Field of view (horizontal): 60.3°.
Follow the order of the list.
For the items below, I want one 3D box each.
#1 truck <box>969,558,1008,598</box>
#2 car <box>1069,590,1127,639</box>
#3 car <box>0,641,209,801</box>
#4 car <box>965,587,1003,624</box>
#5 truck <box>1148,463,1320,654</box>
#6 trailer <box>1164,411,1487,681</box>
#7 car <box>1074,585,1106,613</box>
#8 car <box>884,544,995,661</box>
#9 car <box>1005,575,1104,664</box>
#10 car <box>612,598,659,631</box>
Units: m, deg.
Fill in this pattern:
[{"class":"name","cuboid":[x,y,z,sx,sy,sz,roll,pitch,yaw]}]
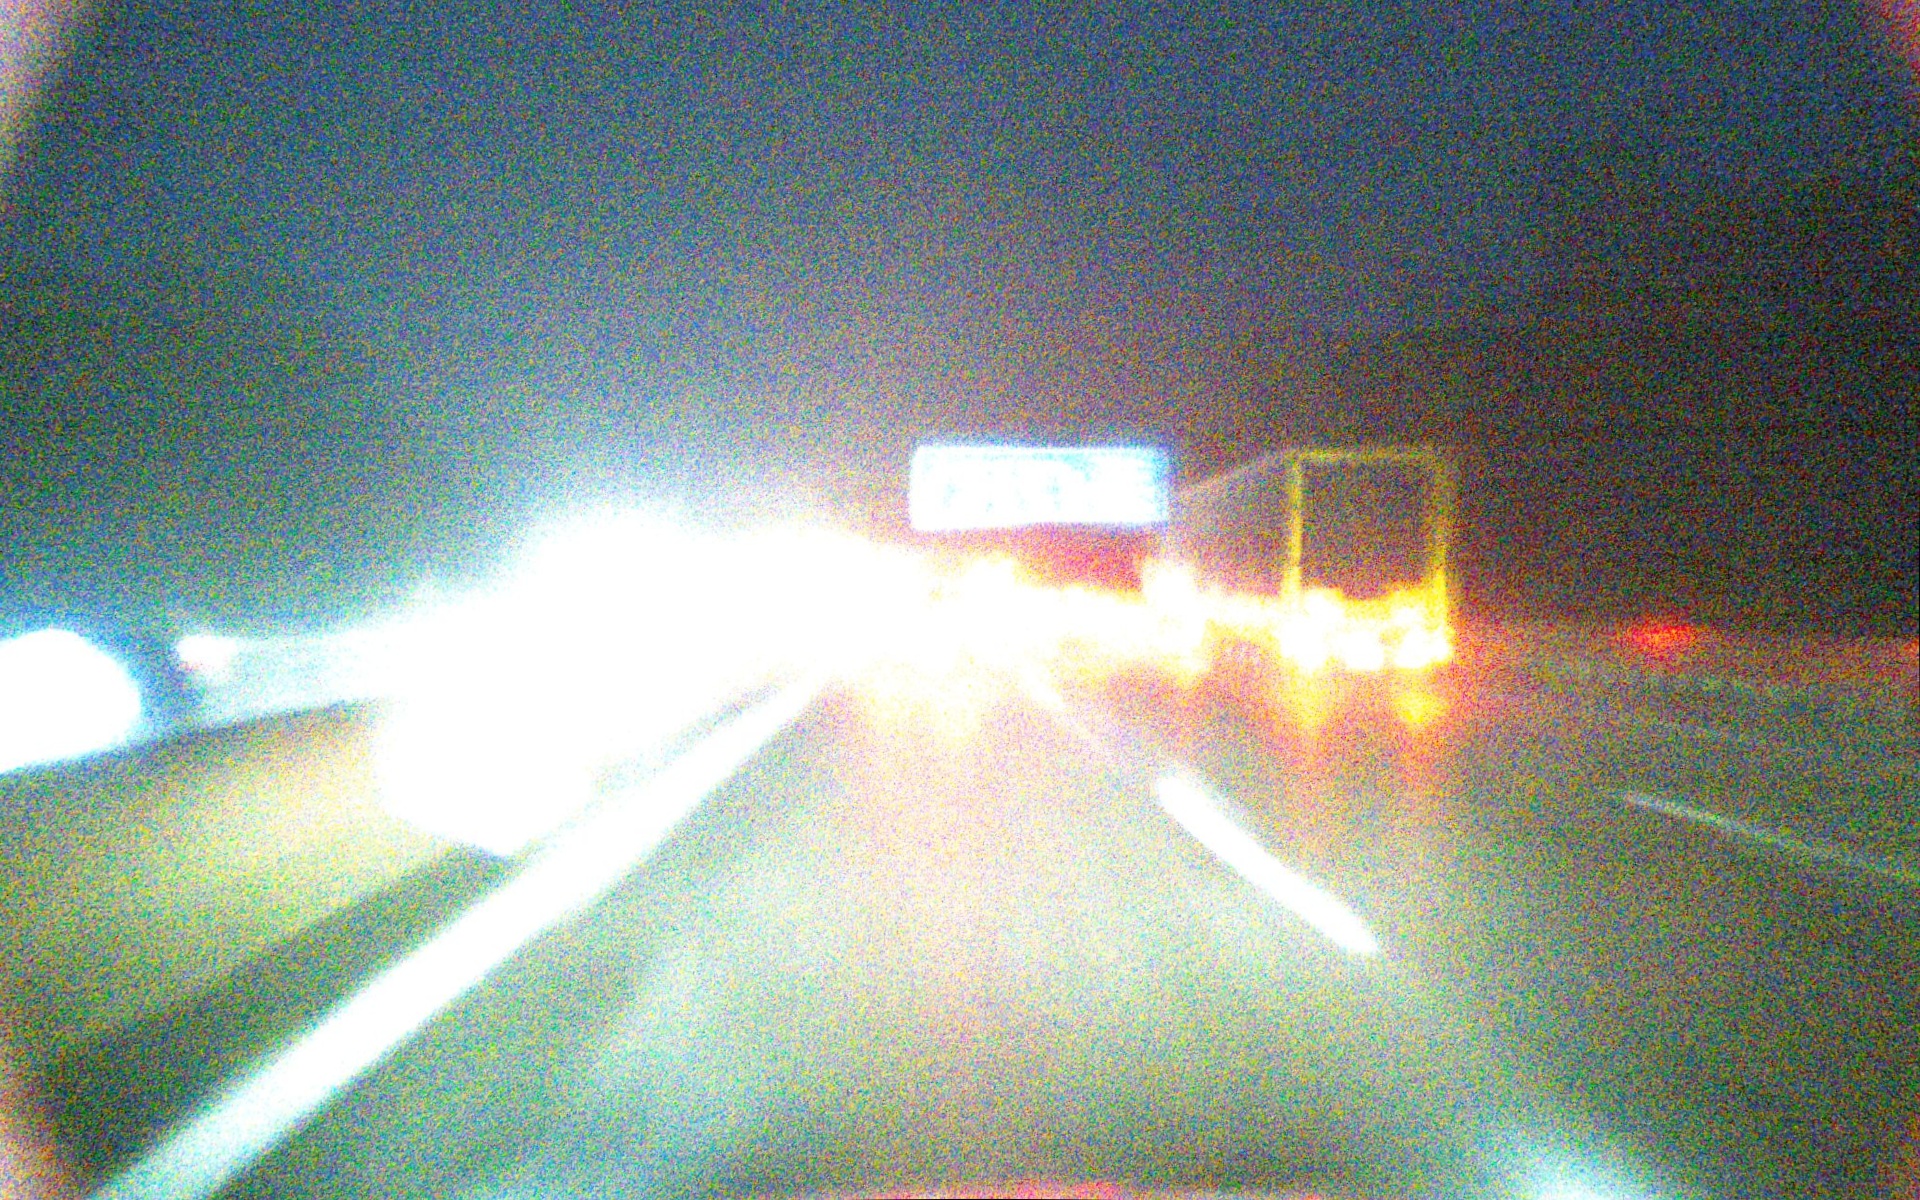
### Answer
[{"class":"truck","cuboid":[2.535,-1.963,151.069,2.976,3.355,11.378,-2,0,-1]},{"class":"car","cuboid":[6.069,0.627,72.998,1.954,2.049,3.997,-2,0,-3]},{"class":"car","cuboid":[-12.938,1.639,24.032,1.953,1.791,4.958,1,2,-2]},{"class":"car","cuboid":[1.389,0.295,97.882,1.954,2.049,3.997,-2,0,-3]},{"class":"truck","cuboid":[6.474,-0.956,39.975,2.980,4.180,5.796,-2,0,-1]},{"class":"trailer","cuboid":[6.645,-0.900,33.091,2.979,4.180,13.825,-2,0,-1]},{"class":"car","cuboid":[10.251,-0.092,130.276,1.954,2.049,3.997,-2,0,-3]},{"class":"car","cuboid":[-0.426,0.037,31.602,1.953,2.049,3.999,1,0,-2]},{"class":"car","cuboid":[2.303,0.462,41.316,1.954,2.049,3.997,-2,0,-3]},{"class":"car","cuboid":[-18.827,0.810,96.007,1.954,1.791,4.956,-2,0,-3]}]
